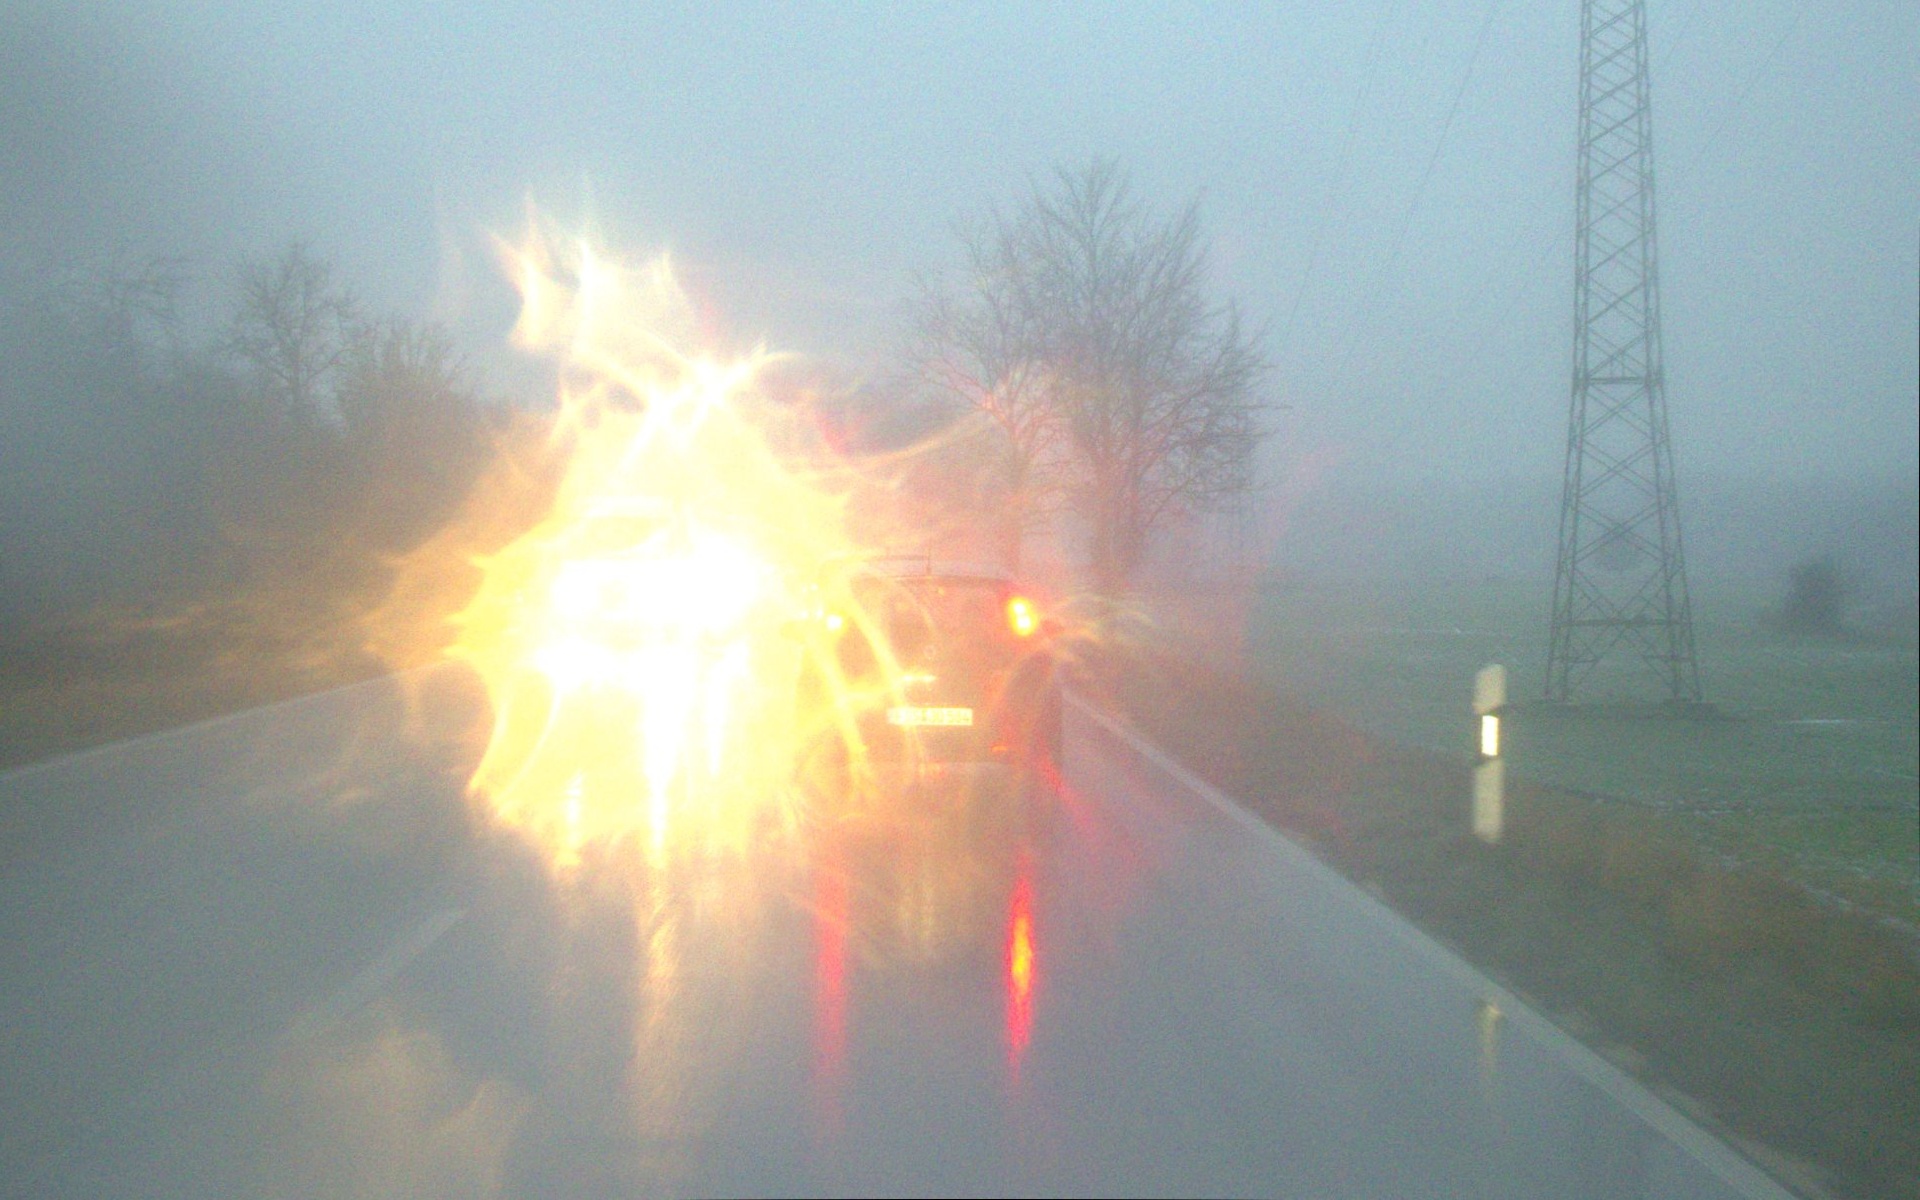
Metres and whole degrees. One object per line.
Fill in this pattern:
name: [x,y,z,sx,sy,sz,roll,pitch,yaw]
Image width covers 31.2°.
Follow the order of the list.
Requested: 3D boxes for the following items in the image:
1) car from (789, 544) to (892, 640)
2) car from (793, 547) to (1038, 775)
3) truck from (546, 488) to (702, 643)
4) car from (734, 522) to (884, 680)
car: [-2.270,-0.182,64.502,1.863,1.694,4.468,1,1,-3]
car: [-0.294,0.360,22.855,1.500,1.393,3.200,1,1,-1]
truck: [-5.578,-0.579,57.695,2.238,2.459,5.374,1,1,-2]
car: [-1.984,-0.006,46.148,1.852,2.007,4.000,1,1,-1]
